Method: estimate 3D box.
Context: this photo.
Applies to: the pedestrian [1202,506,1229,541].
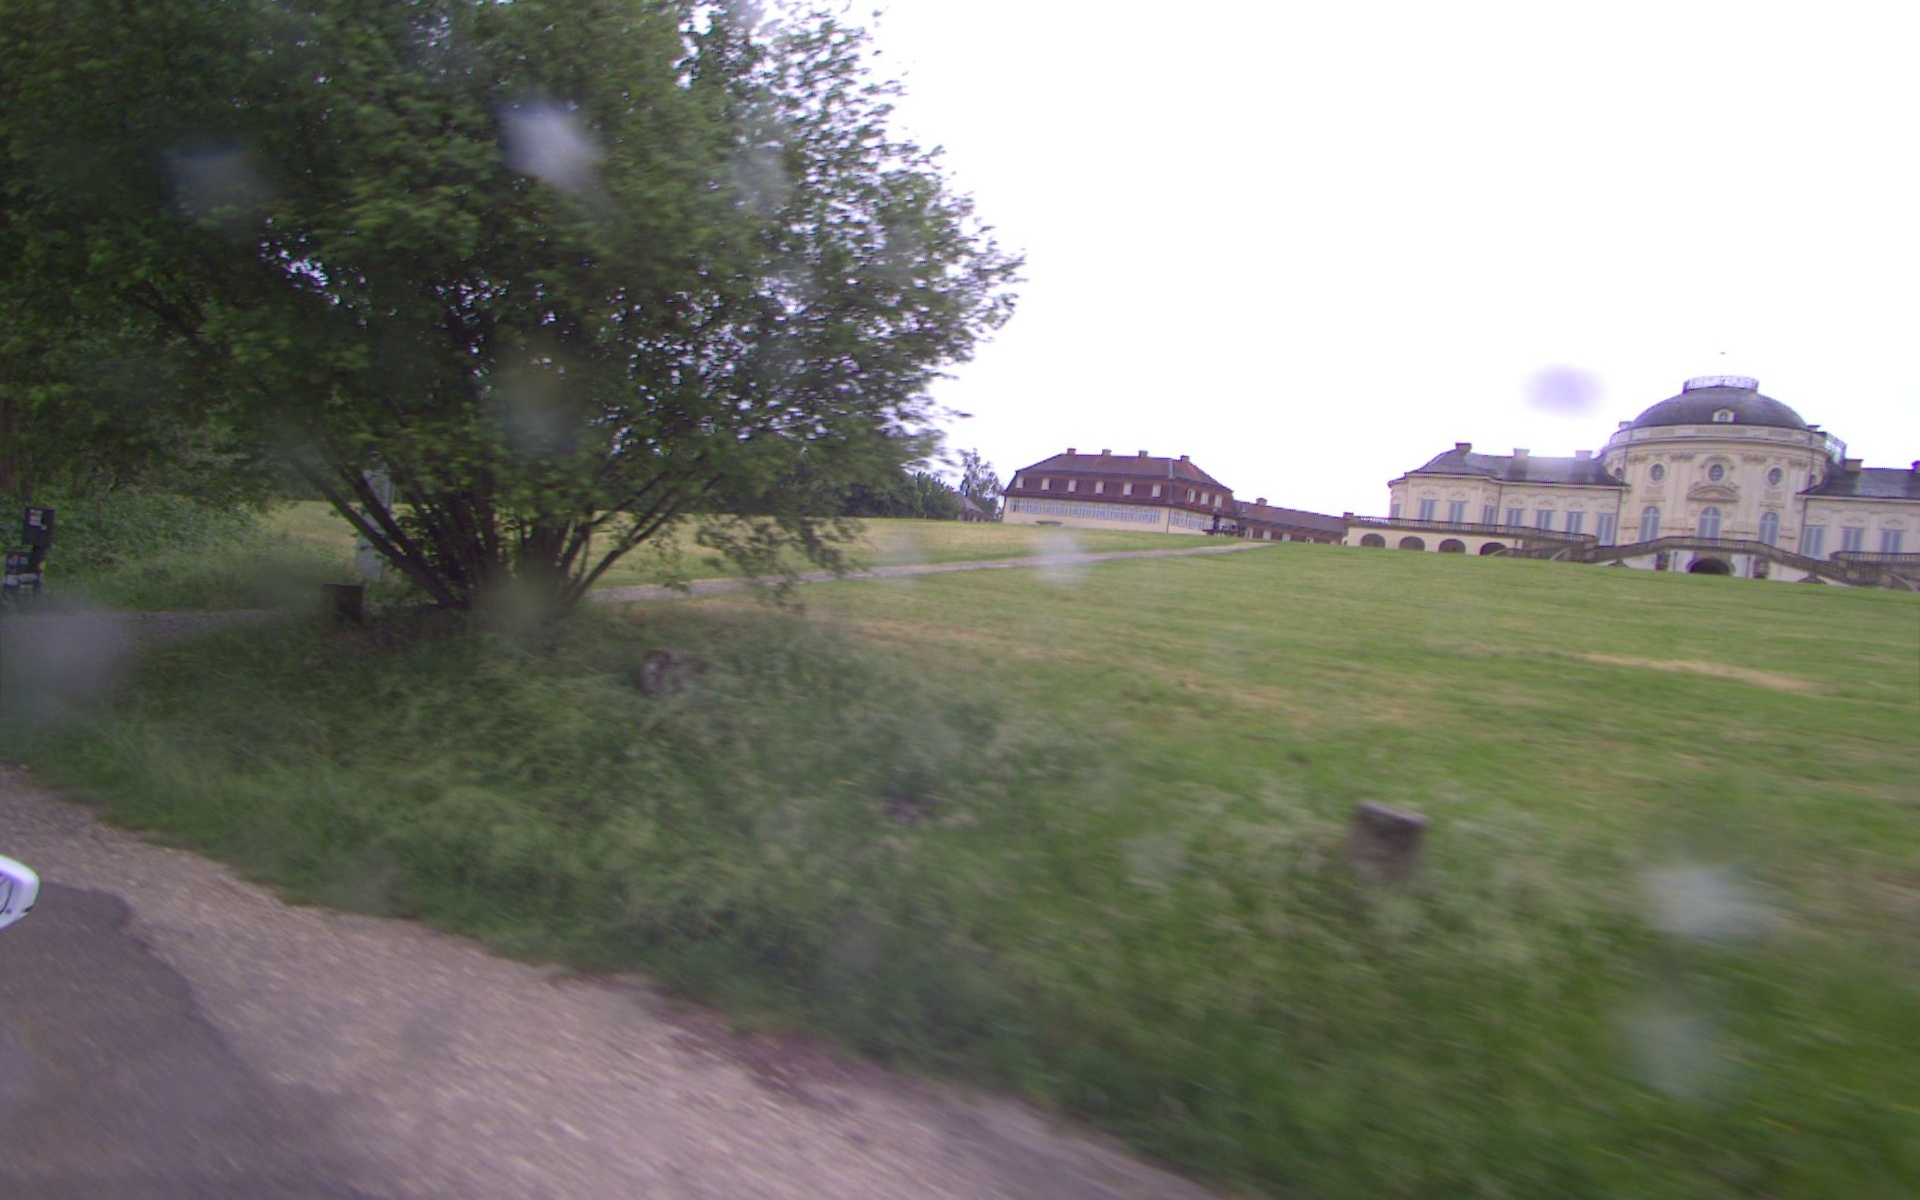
[{"bbox_3d":[14.135,-4.230,55.631,0.922,1.758,0.794,7,2,-40],"label":"pedestrian"}]
